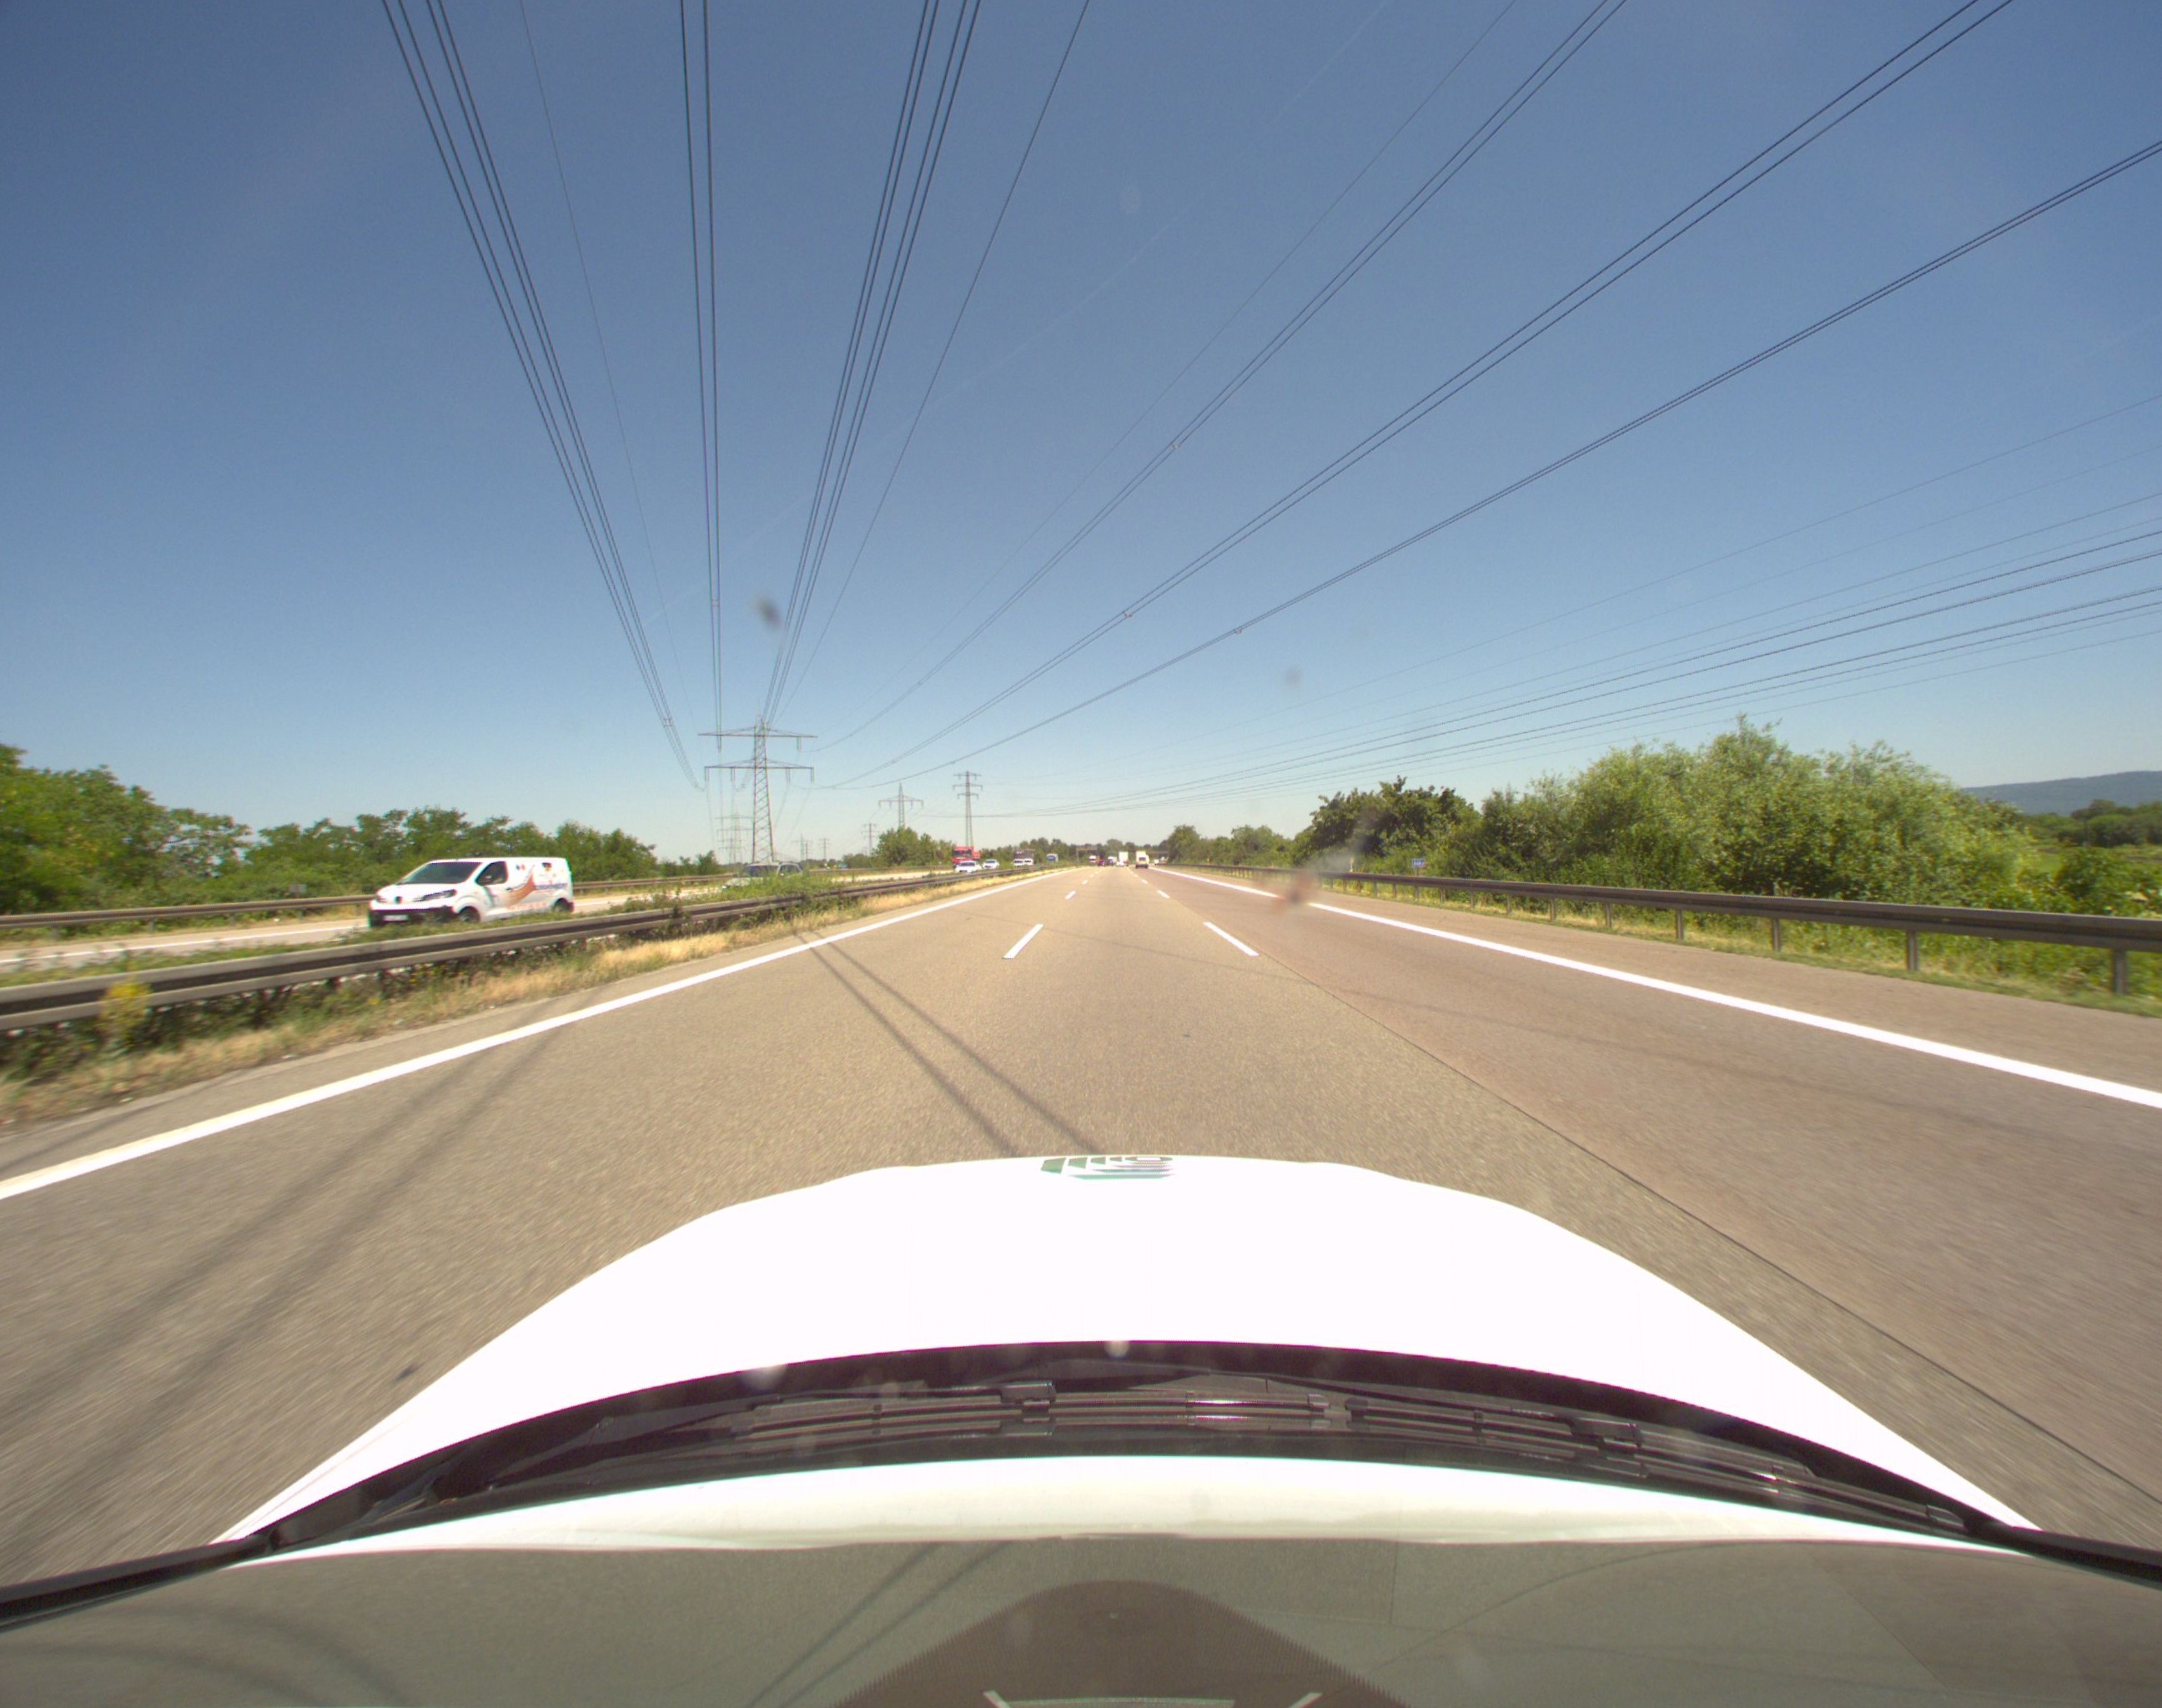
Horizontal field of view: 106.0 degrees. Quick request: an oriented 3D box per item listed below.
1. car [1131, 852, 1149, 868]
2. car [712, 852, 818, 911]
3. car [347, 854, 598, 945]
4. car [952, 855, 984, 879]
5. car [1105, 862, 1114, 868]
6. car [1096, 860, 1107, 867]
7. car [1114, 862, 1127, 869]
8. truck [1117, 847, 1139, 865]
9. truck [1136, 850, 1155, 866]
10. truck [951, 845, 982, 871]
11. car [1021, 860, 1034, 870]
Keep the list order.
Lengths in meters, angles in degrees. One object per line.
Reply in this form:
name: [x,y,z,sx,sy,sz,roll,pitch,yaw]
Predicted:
car: [9.158,0.934,126.767,2.433,2.321,5.323,-1,0,2]
car: [-11.580,0.944,30.229,1.986,2.013,4.629,0,0,2]
car: [-15.209,1.004,20.936,1.986,2.013,5.704,0,0,2]
car: [-10.052,1.129,72.915,1.986,2.013,4.923,0,0,2]
car: [8.066,3.038,230.904,1.816,1.547,4.333,1,0,12]
car: [4.725,2.253,184.954,1.816,1.547,4.333,1,0,12]
car: [8.789,2.472,180.765,1.814,1.547,4.337,0,0,16]
truck: [13.399,0.557,229.954,3.642,5.018,16.070,0,0,12]
truck: [17.910,1.055,224.251,3.159,4.304,16.072,0,0,12]
truck: [-15.991,0.472,113.927,2.759,3.527,8.538,0,0,2]
car: [-9.736,1.976,149.232,1.963,1.773,4.371,0,0,2]
